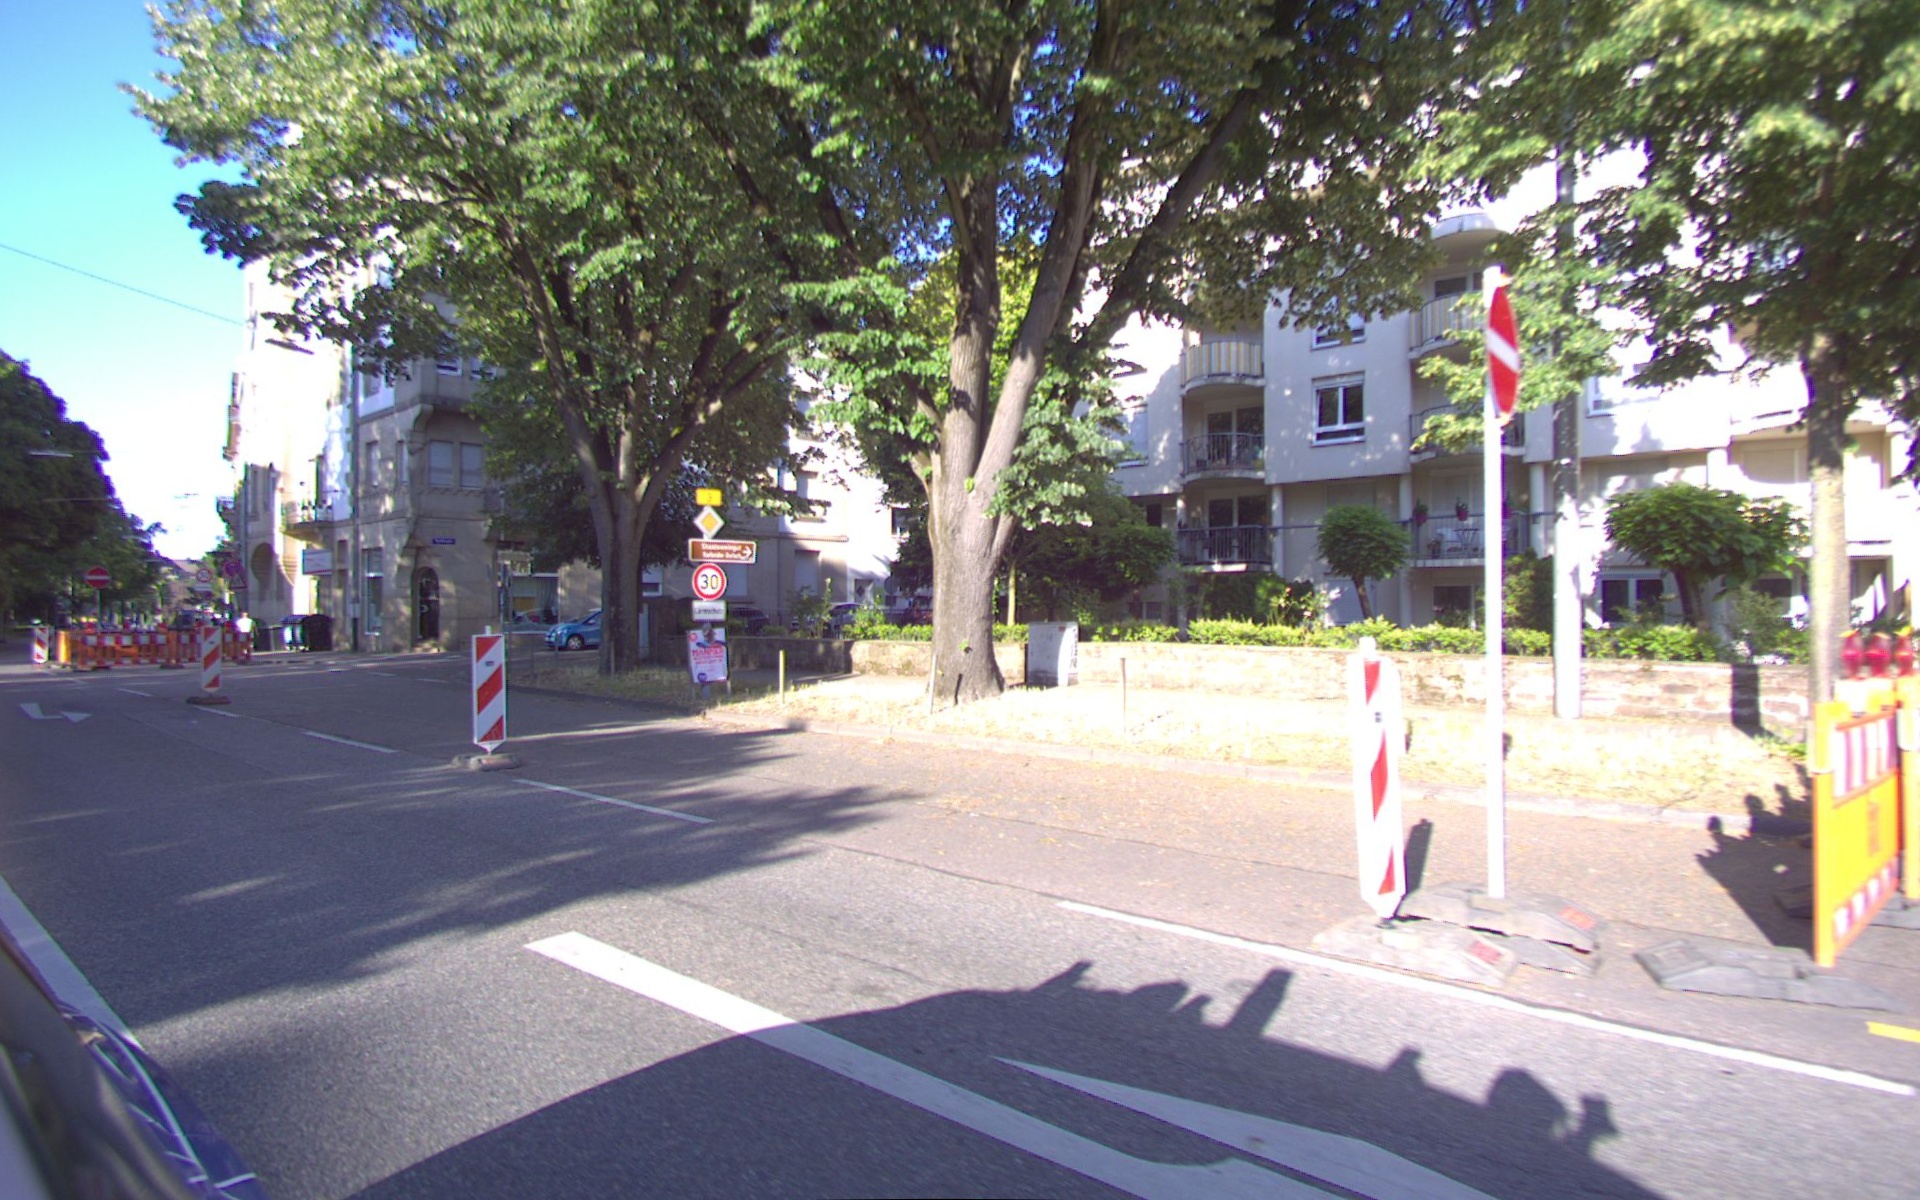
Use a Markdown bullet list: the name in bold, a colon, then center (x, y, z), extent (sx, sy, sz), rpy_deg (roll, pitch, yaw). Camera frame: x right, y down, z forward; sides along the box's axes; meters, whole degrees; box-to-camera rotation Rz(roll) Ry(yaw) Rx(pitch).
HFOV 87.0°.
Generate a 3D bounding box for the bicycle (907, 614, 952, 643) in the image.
- **bicycle**: center (-1.168, 1.072, 38.461), extent (0.913, 1.017, 1.940), rpy_deg (-2, 0, -28)

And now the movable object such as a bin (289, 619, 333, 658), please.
- **movable object such as a bin**: center (-25.028, 1.482, 39.028), extent (1.344, 1.442, 1.072), rpy_deg (-2, 0, 39)

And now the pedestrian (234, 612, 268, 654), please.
- **pedestrian**: center (-28.107, 1.315, 40.127), extent (0.915, 1.615, 0.813), rpy_deg (-2, 0, 36)

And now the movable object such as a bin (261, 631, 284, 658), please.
- **movable object such as a bin**: center (-28.360, 1.833, 41.724), extent (0.764, 1.049, 0.629), rpy_deg (-2, 0, 44)

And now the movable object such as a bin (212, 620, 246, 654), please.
- **movable object such as a bin**: center (-32.381, 1.610, 44.853), extent (1.067, 1.442, 1.411), rpy_deg (-2, 0, -30)

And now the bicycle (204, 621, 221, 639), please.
- **bicycle**: center (-40.652, 1.639, 55.046), extent (0.592, 0.939, 1.476), rpy_deg (-2, 0, -41)

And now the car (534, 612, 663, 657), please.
- **car**: center (-13.084, 1.215, 36.722), extent (2.001, 1.564, 3.942), rpy_deg (-2, -2, 44)

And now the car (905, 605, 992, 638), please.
- **car**: center (-0.520, 1.019, 48.426), extent (2.001, 1.497, 3.942), rpy_deg (-2, -2, 44)

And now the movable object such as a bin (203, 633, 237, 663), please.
- **movable object such as a bin**: center (-33.535, 2.176, 45.871), extent (1.070, 1.273, 1.336), rpy_deg (-1, 0, -44)

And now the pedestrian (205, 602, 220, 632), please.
- **pedestrian**: center (-40.709, 0.932, 55.086), extent (0.591, 1.567, 0.617), rpy_deg (-1, 0, -41)

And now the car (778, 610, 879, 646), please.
- **car**: center (-5.602, 1.175, 43.417), extent (2.001, 1.497, 3.942), rpy_deg (-2, -2, 44)

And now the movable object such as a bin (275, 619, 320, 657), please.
- **movable object such as a bin**: center (-26.157, 1.483, 39.950), extent (1.406, 1.442, 1.072), rpy_deg (-2, 0, 39)

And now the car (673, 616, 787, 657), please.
- **car**: center (-9.033, 1.416, 39.933), extent (2.001, 1.497, 3.942), rpy_deg (-2, -2, 44)

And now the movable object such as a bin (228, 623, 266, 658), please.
- **movable object such as a bin**: center (-30.439, 1.728, 43.202), extent (1.408, 1.442, 1.070), rpy_deg (-2, 0, 44)
